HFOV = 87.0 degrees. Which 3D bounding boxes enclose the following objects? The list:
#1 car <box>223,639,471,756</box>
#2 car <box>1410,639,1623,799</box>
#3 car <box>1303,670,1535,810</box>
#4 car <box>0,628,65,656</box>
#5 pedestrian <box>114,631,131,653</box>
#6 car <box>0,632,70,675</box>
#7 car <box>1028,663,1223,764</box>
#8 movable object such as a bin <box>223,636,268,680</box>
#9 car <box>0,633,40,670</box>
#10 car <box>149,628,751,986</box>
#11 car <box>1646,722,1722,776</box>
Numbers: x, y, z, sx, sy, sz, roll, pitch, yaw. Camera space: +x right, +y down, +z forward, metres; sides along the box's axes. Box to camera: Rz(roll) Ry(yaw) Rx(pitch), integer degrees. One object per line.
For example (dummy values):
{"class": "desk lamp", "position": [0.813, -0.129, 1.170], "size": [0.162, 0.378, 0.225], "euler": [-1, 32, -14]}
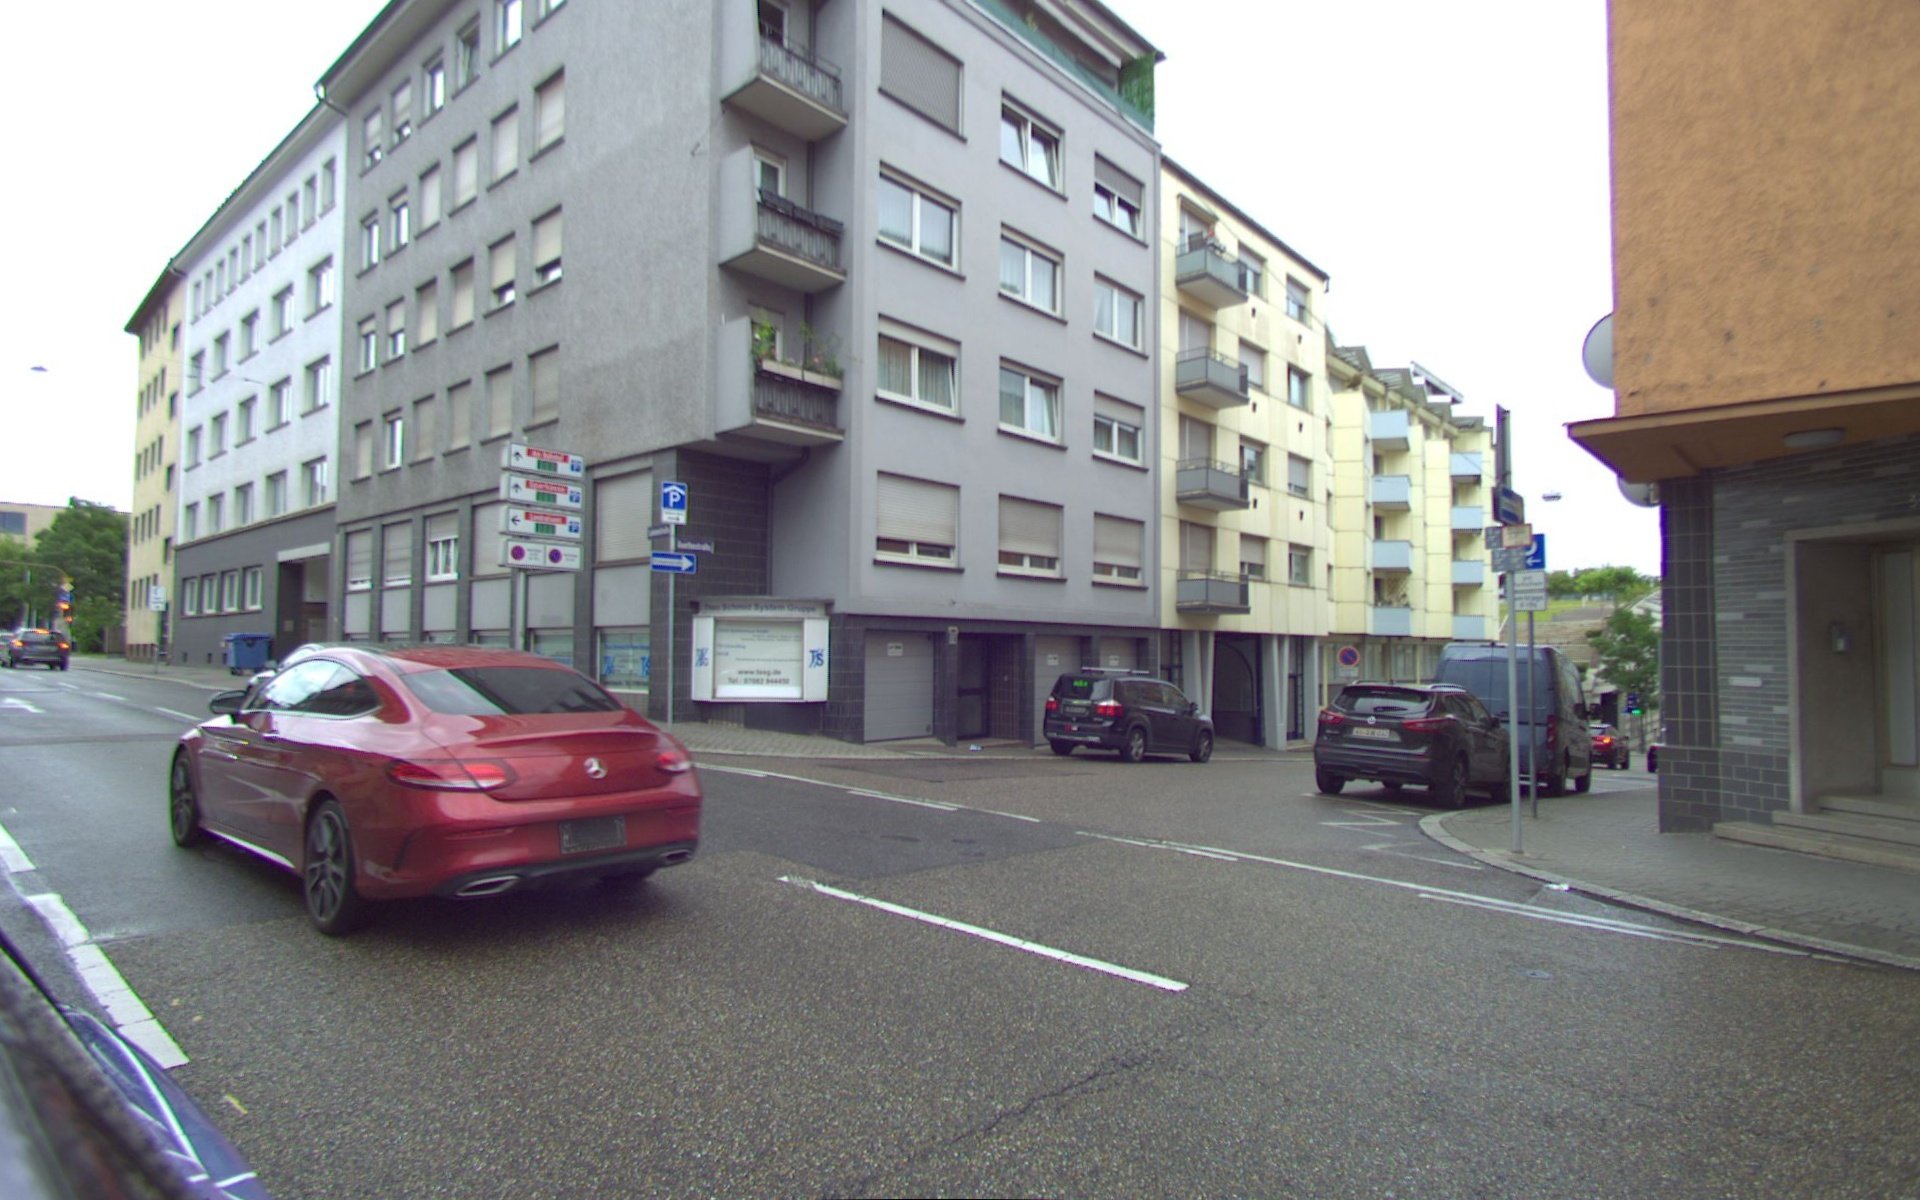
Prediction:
{"class": "car", "position": [-8.616, 1.303, 14.113], "size": [3.886, 1.356, 1.749], "euler": [-1, -6, 41]}
{"class": "car", "position": [10.521, 2.217, 18.826], "size": [2.249, 2.481, 5.975], "euler": [-1, -7, 41]}
{"class": "car", "position": [6.500, 1.949, 14.084], "size": [1.842, 1.589, 4.098], "euler": [-1, -8, 41]}
{"class": "car", "position": [-54.790, 2.457, 58.773], "size": [3.932, 1.505, 1.777], "euler": [-1, 0, -31]}
{"class": "pedestrian", "position": [-46.308, 2.309, 55.942], "size": [0.407, 1.158, 0.575], "euler": [-2, -6, 42]}
{"class": "car", "position": [-36.099, 2.066, 39.289], "size": [4.157, 1.519, 1.685], "euler": [-1, -5, 41]}
{"class": "car", "position": [3.351, 2.277, 19.906], "size": [1.794, 1.700, 4.186], "euler": [-1, -8, 41]}
{"class": "movable object such as a bin", "position": [-22.869, 1.849, 32.395], "size": [1.096, 1.343, 0.933], "euler": [-1, 0, 41]}
{"class": "car", "position": [-43.981, 2.330, 46.613], "size": [4.371, 1.602, 1.858], "euler": [-1, -3, 41]}
{"class": "car", "position": [-3.306, 0.908, 6.116], "size": [4.337, 1.401, 1.706], "euler": [-1, -4, 41]}
{"class": "car", "position": [25.964, 5.336, 36.248], "size": [1.817, 1.688, 3.998], "euler": [-1, -8, 41]}
